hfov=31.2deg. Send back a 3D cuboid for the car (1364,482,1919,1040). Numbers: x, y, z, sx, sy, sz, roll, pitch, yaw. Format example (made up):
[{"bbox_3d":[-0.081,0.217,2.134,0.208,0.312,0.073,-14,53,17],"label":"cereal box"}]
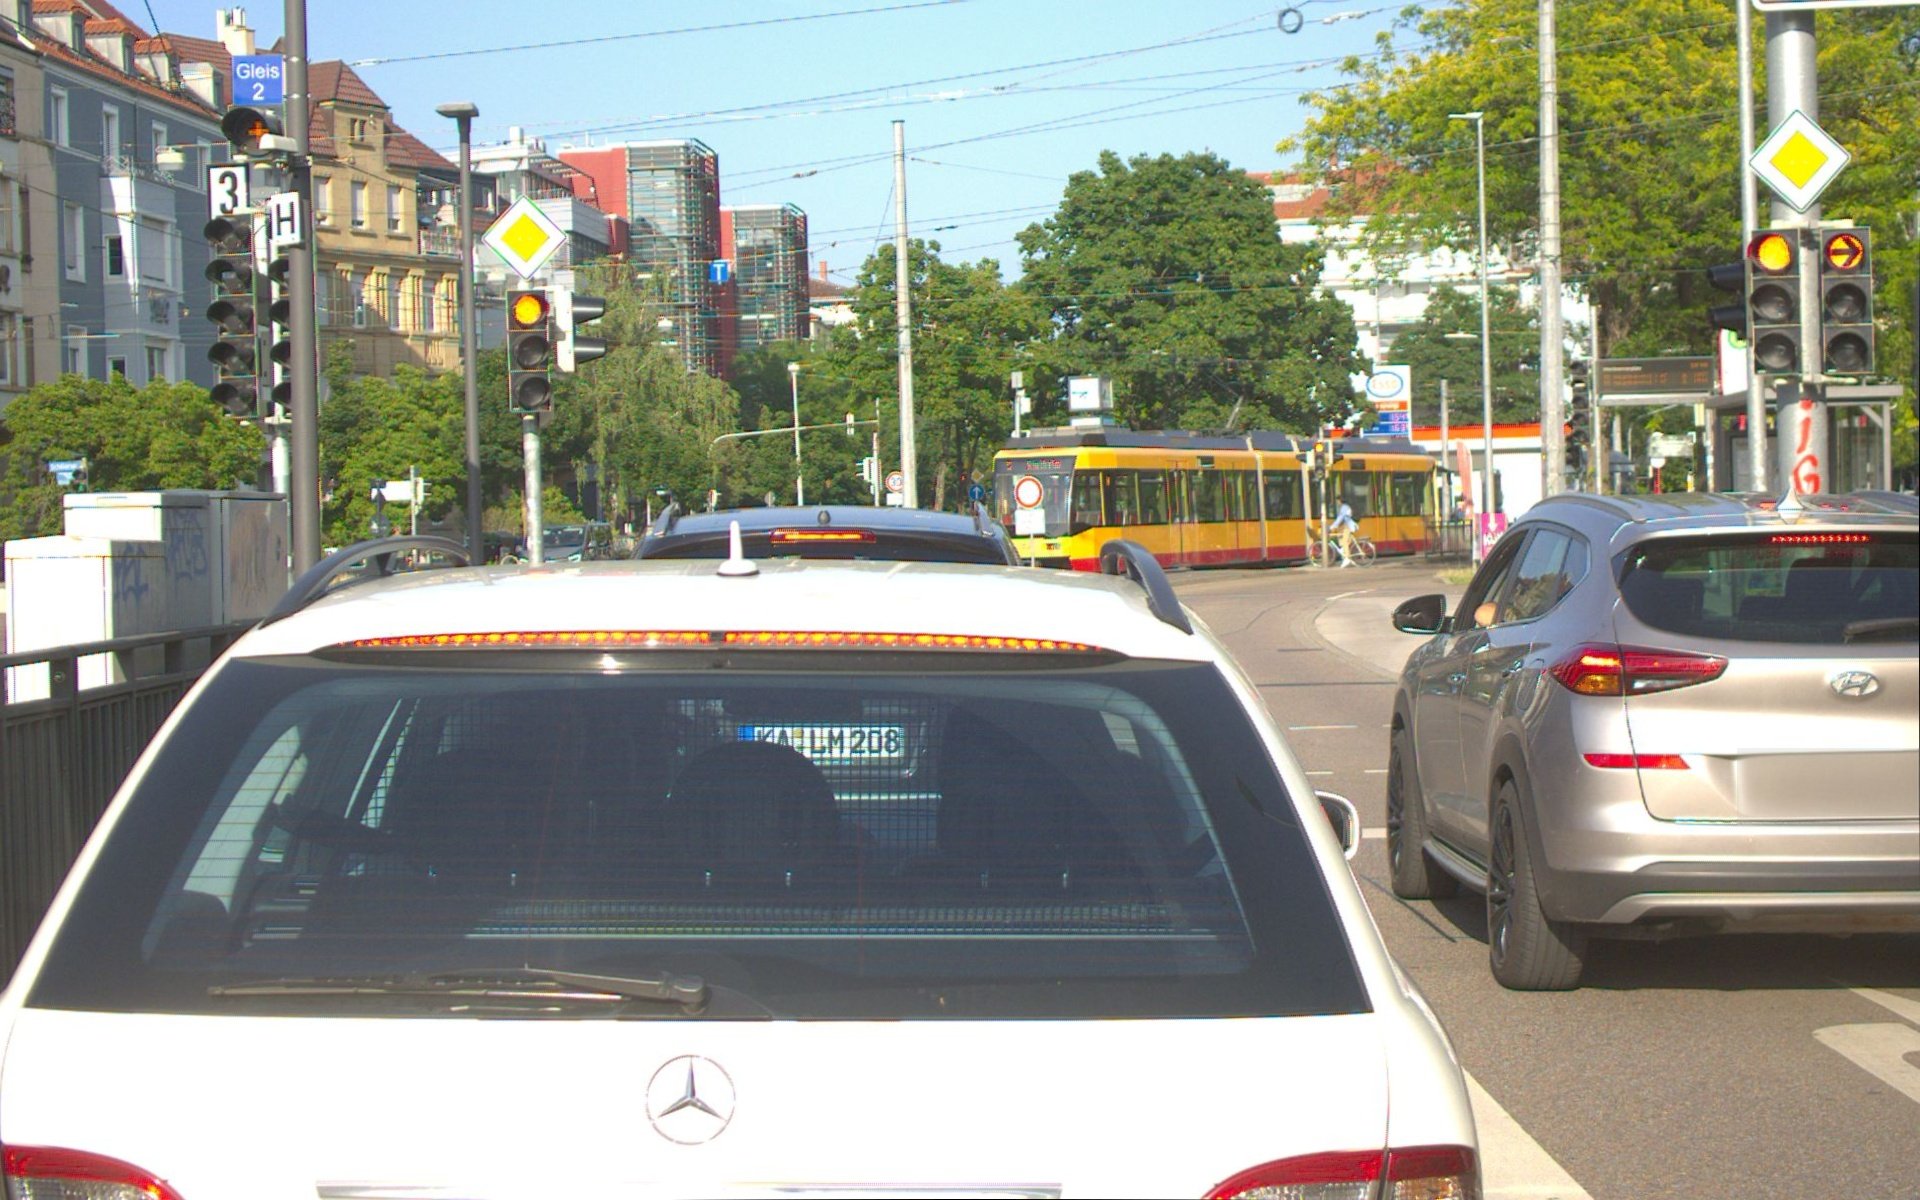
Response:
[{"bbox_3d":[2.626,0.436,12.173,1.885,1.645,3.648,-2,1,0],"label":"car"}]

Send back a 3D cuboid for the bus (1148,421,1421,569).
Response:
[{"bbox_3d":[8.773,-2.660,90.801,3.113,3.593,12.574,1,1,25],"label":"bus"}]

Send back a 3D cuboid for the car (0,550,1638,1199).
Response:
[{"bbox_3d":[-0.307,0.674,4.952,1.796,1.465,3.648,0,1,-1],"label":"car"}]

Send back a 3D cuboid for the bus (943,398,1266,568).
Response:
[{"bbox_3d":[3.574,-2.559,79.467,3.112,3.593,12.359,1,1,24],"label":"bus"}]

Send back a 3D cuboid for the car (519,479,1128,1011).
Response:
[{"bbox_3d":[-0.444,0.416,12.583,1.885,1.645,3.648,1,1,0],"label":"car"}]

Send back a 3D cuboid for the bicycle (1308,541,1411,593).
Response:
[{"bbox_3d":[9.918,-0.812,85.263,2.483,1.209,0.806,-1,1,8],"label":"bicycle"}]
